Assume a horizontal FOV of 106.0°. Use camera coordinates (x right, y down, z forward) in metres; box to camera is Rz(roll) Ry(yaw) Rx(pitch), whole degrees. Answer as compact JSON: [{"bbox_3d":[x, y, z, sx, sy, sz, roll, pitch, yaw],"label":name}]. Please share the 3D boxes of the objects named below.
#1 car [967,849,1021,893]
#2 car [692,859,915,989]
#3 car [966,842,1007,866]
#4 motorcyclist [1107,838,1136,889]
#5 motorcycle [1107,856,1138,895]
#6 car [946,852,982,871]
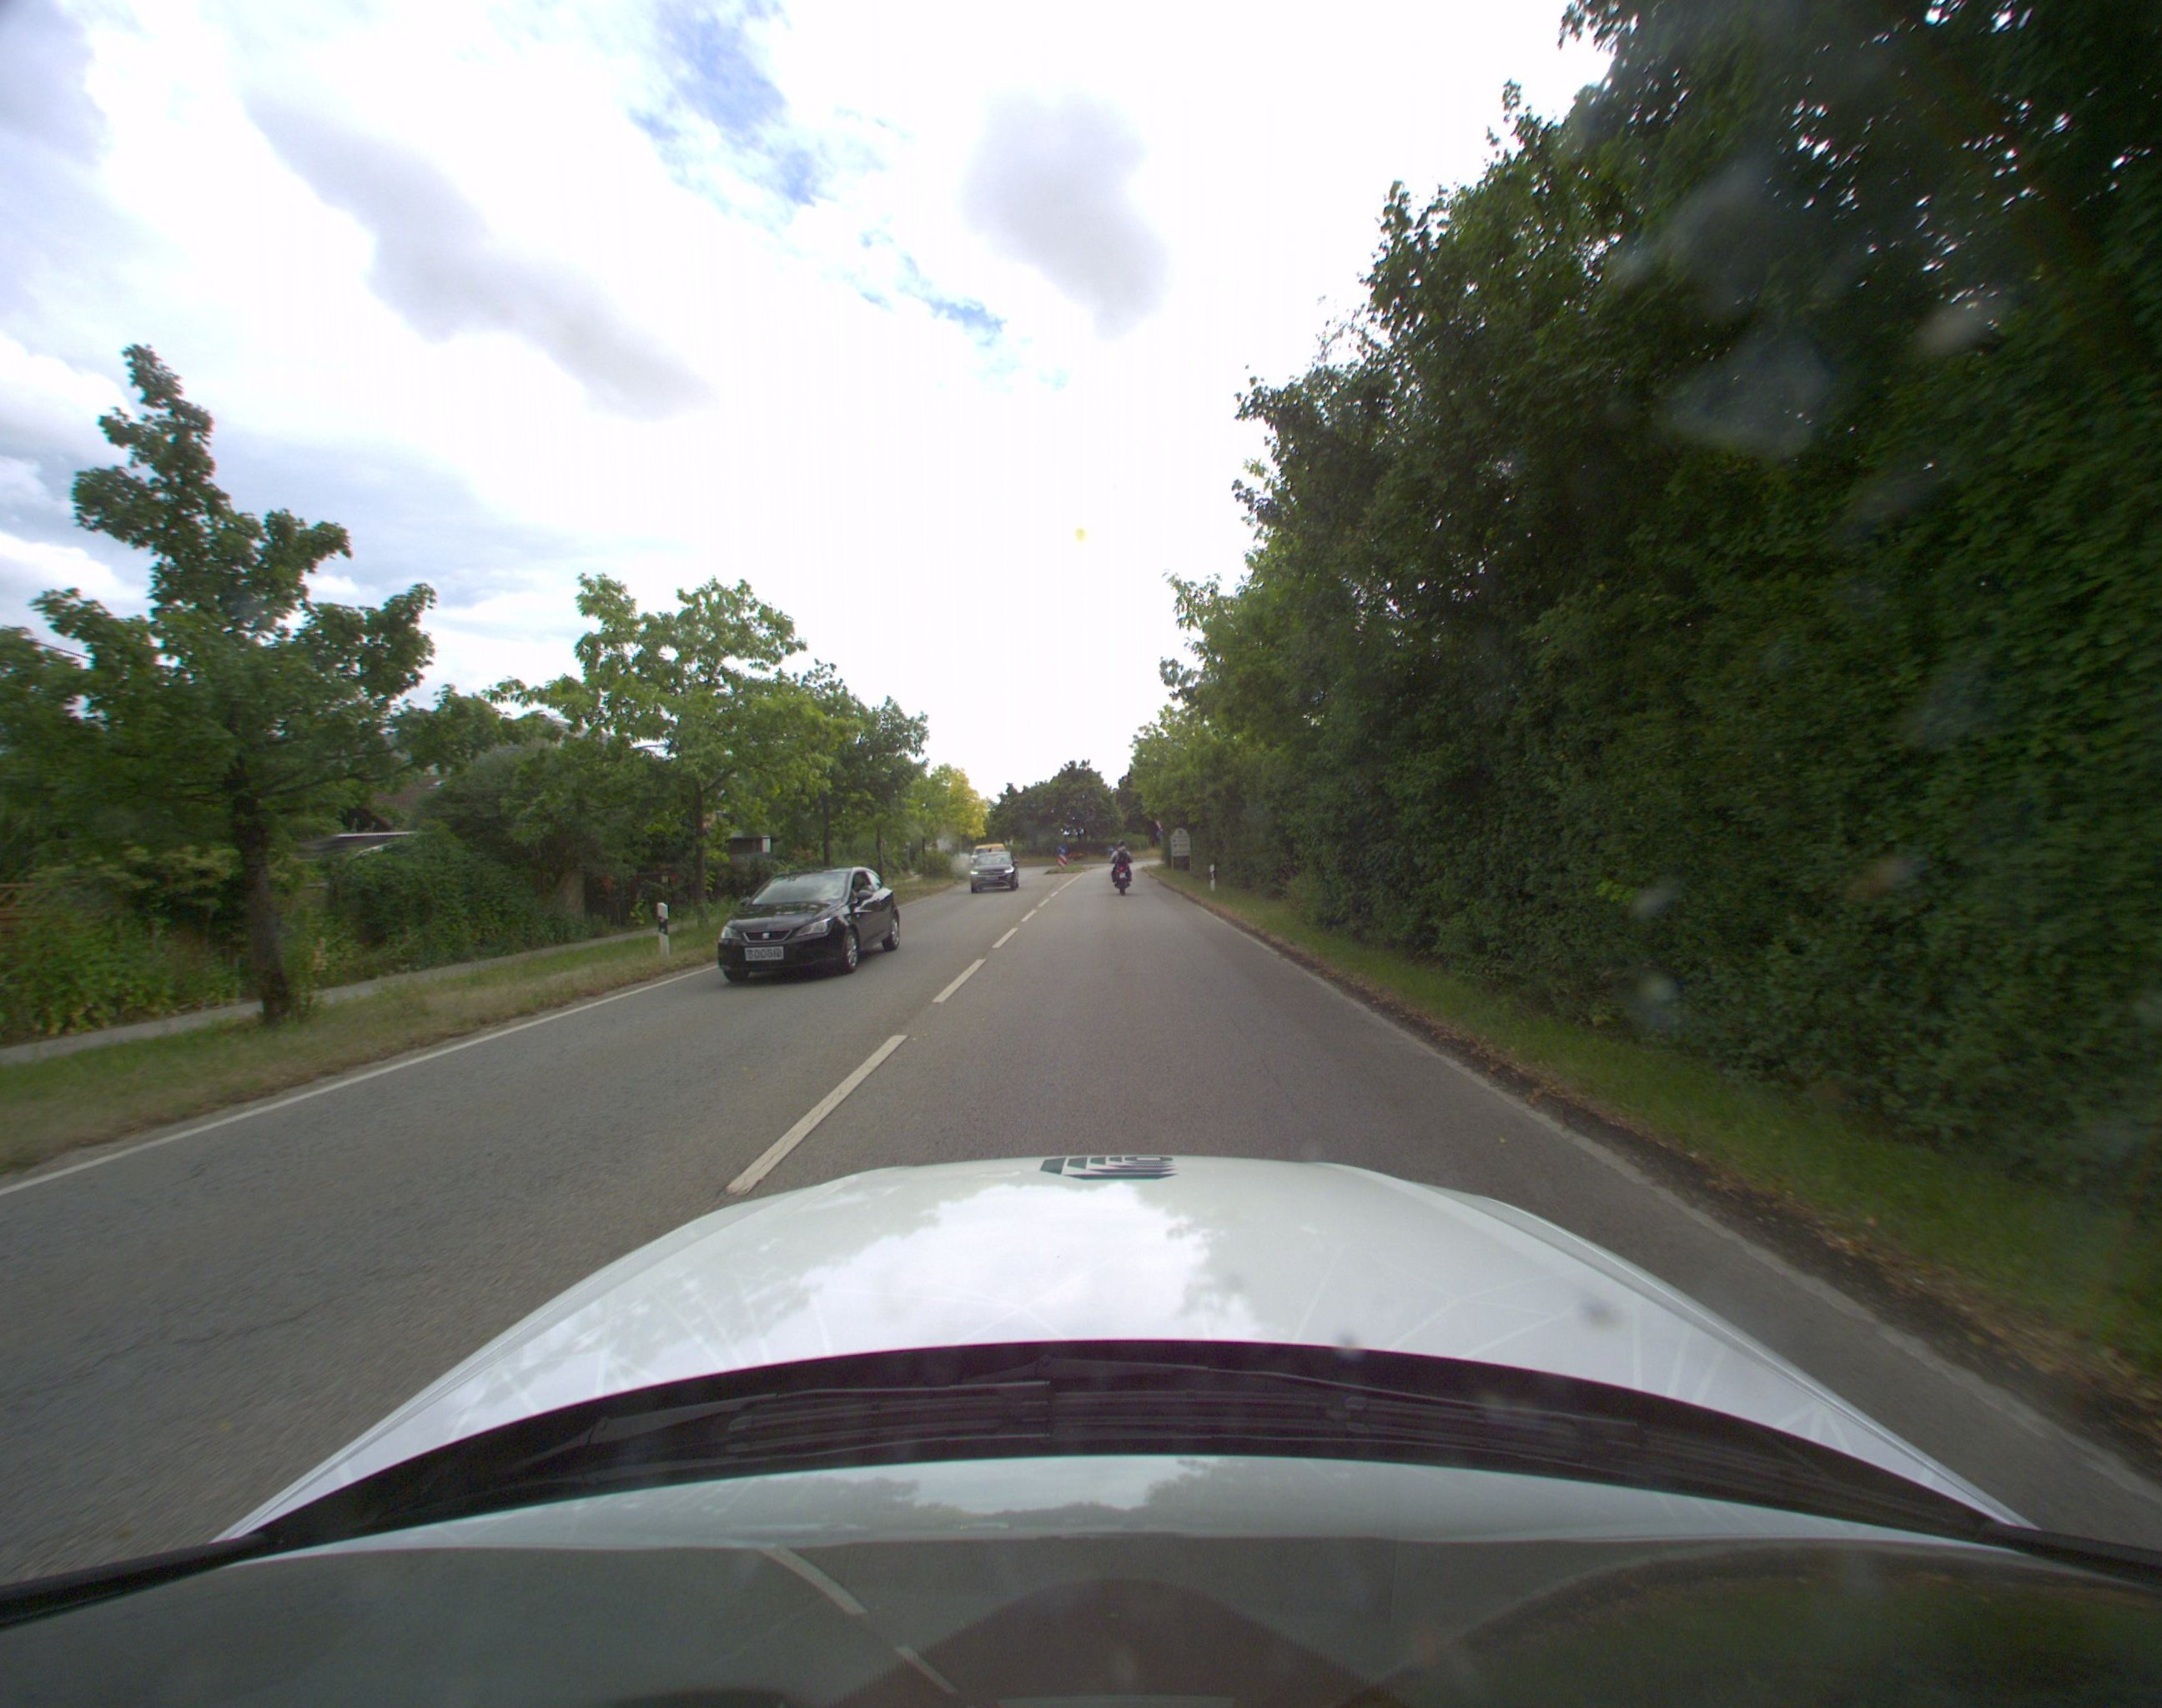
[{"bbox_3d":[-3.465,0.638,33.001,1.728,1.534,4.093,-4,0,-1],"label":"car"},{"bbox_3d":[-3.804,0.864,11.960,1.670,1.411,4.014,-4,0,2],"label":"car"},{"bbox_3d":[-10.542,-0.049,91.281,2.143,2.451,5.472,-3,1,22],"label":"car"},{"bbox_3d":[1.325,0.297,26.967,0.858,1.623,1.191,-2,0,1],"label":"motorcyclist"},{"bbox_3d":[1.347,0.671,26.911,0.893,1.158,2.621,-2,0,1],"label":"motorcycle"},{"bbox_3d":[-11.316,0.774,78.330,1.750,1.585,4.311,-5,0,-32],"label":"car"}]
